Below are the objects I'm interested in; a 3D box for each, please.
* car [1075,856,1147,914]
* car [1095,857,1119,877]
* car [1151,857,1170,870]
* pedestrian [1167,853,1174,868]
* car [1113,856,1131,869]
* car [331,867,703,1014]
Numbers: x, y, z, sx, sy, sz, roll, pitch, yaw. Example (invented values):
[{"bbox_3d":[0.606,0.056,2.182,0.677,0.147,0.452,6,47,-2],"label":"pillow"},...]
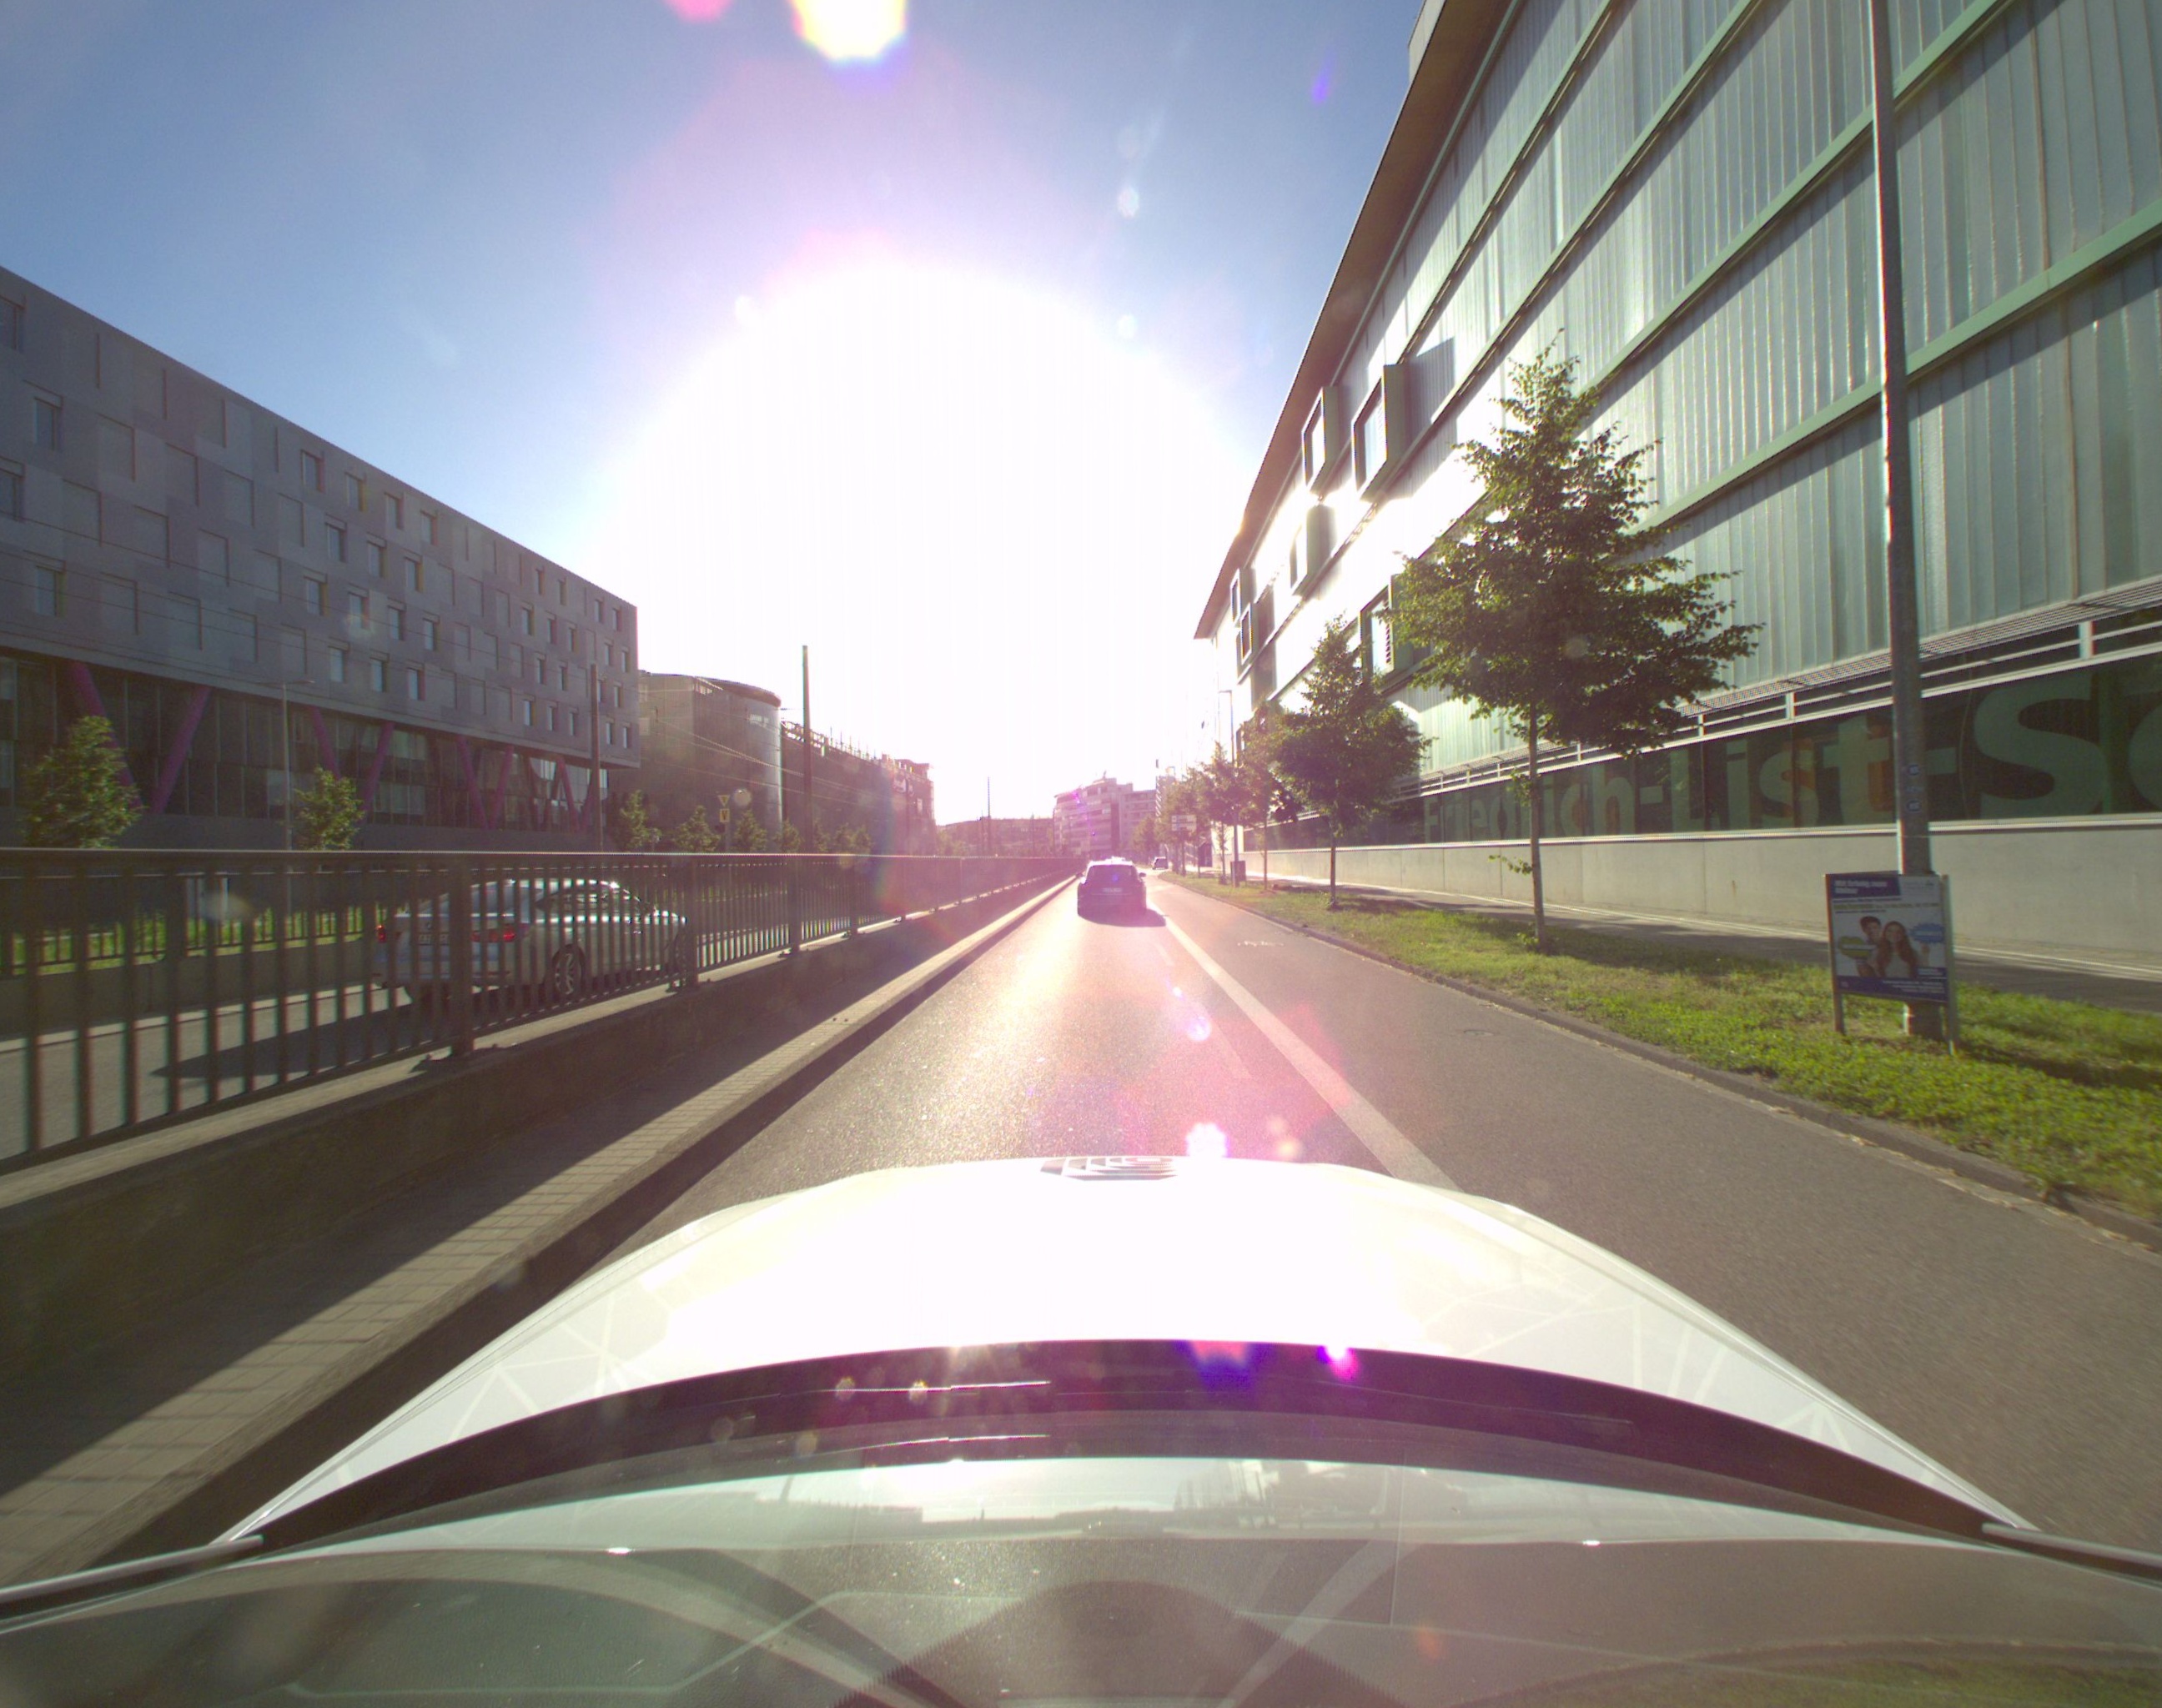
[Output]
[{"bbox_3d":[0.801,0.810,23.185,1.806,1.427,4.690,-2,-1,1],"label":"car"},{"bbox_3d":[2.003,1.008,64.135,1.846,1.546,4.001,0,0,1],"label":"car"},{"bbox_3d":[9.569,1.161,98.873,1.846,1.481,4.855,-3,0,1],"label":"car"},{"bbox_3d":[12.425,0.870,113.180,0.833,2.013,0.690,-2,0,2],"label":"pedestrian"},{"bbox_3d":[4.726,0.958,93.782,1.985,1.465,4.004,0,1,3],"label":"car"},{"bbox_3d":[-7.249,0.976,11.295,1.793,1.527,4.908,0,0,-1],"label":"car"}]
